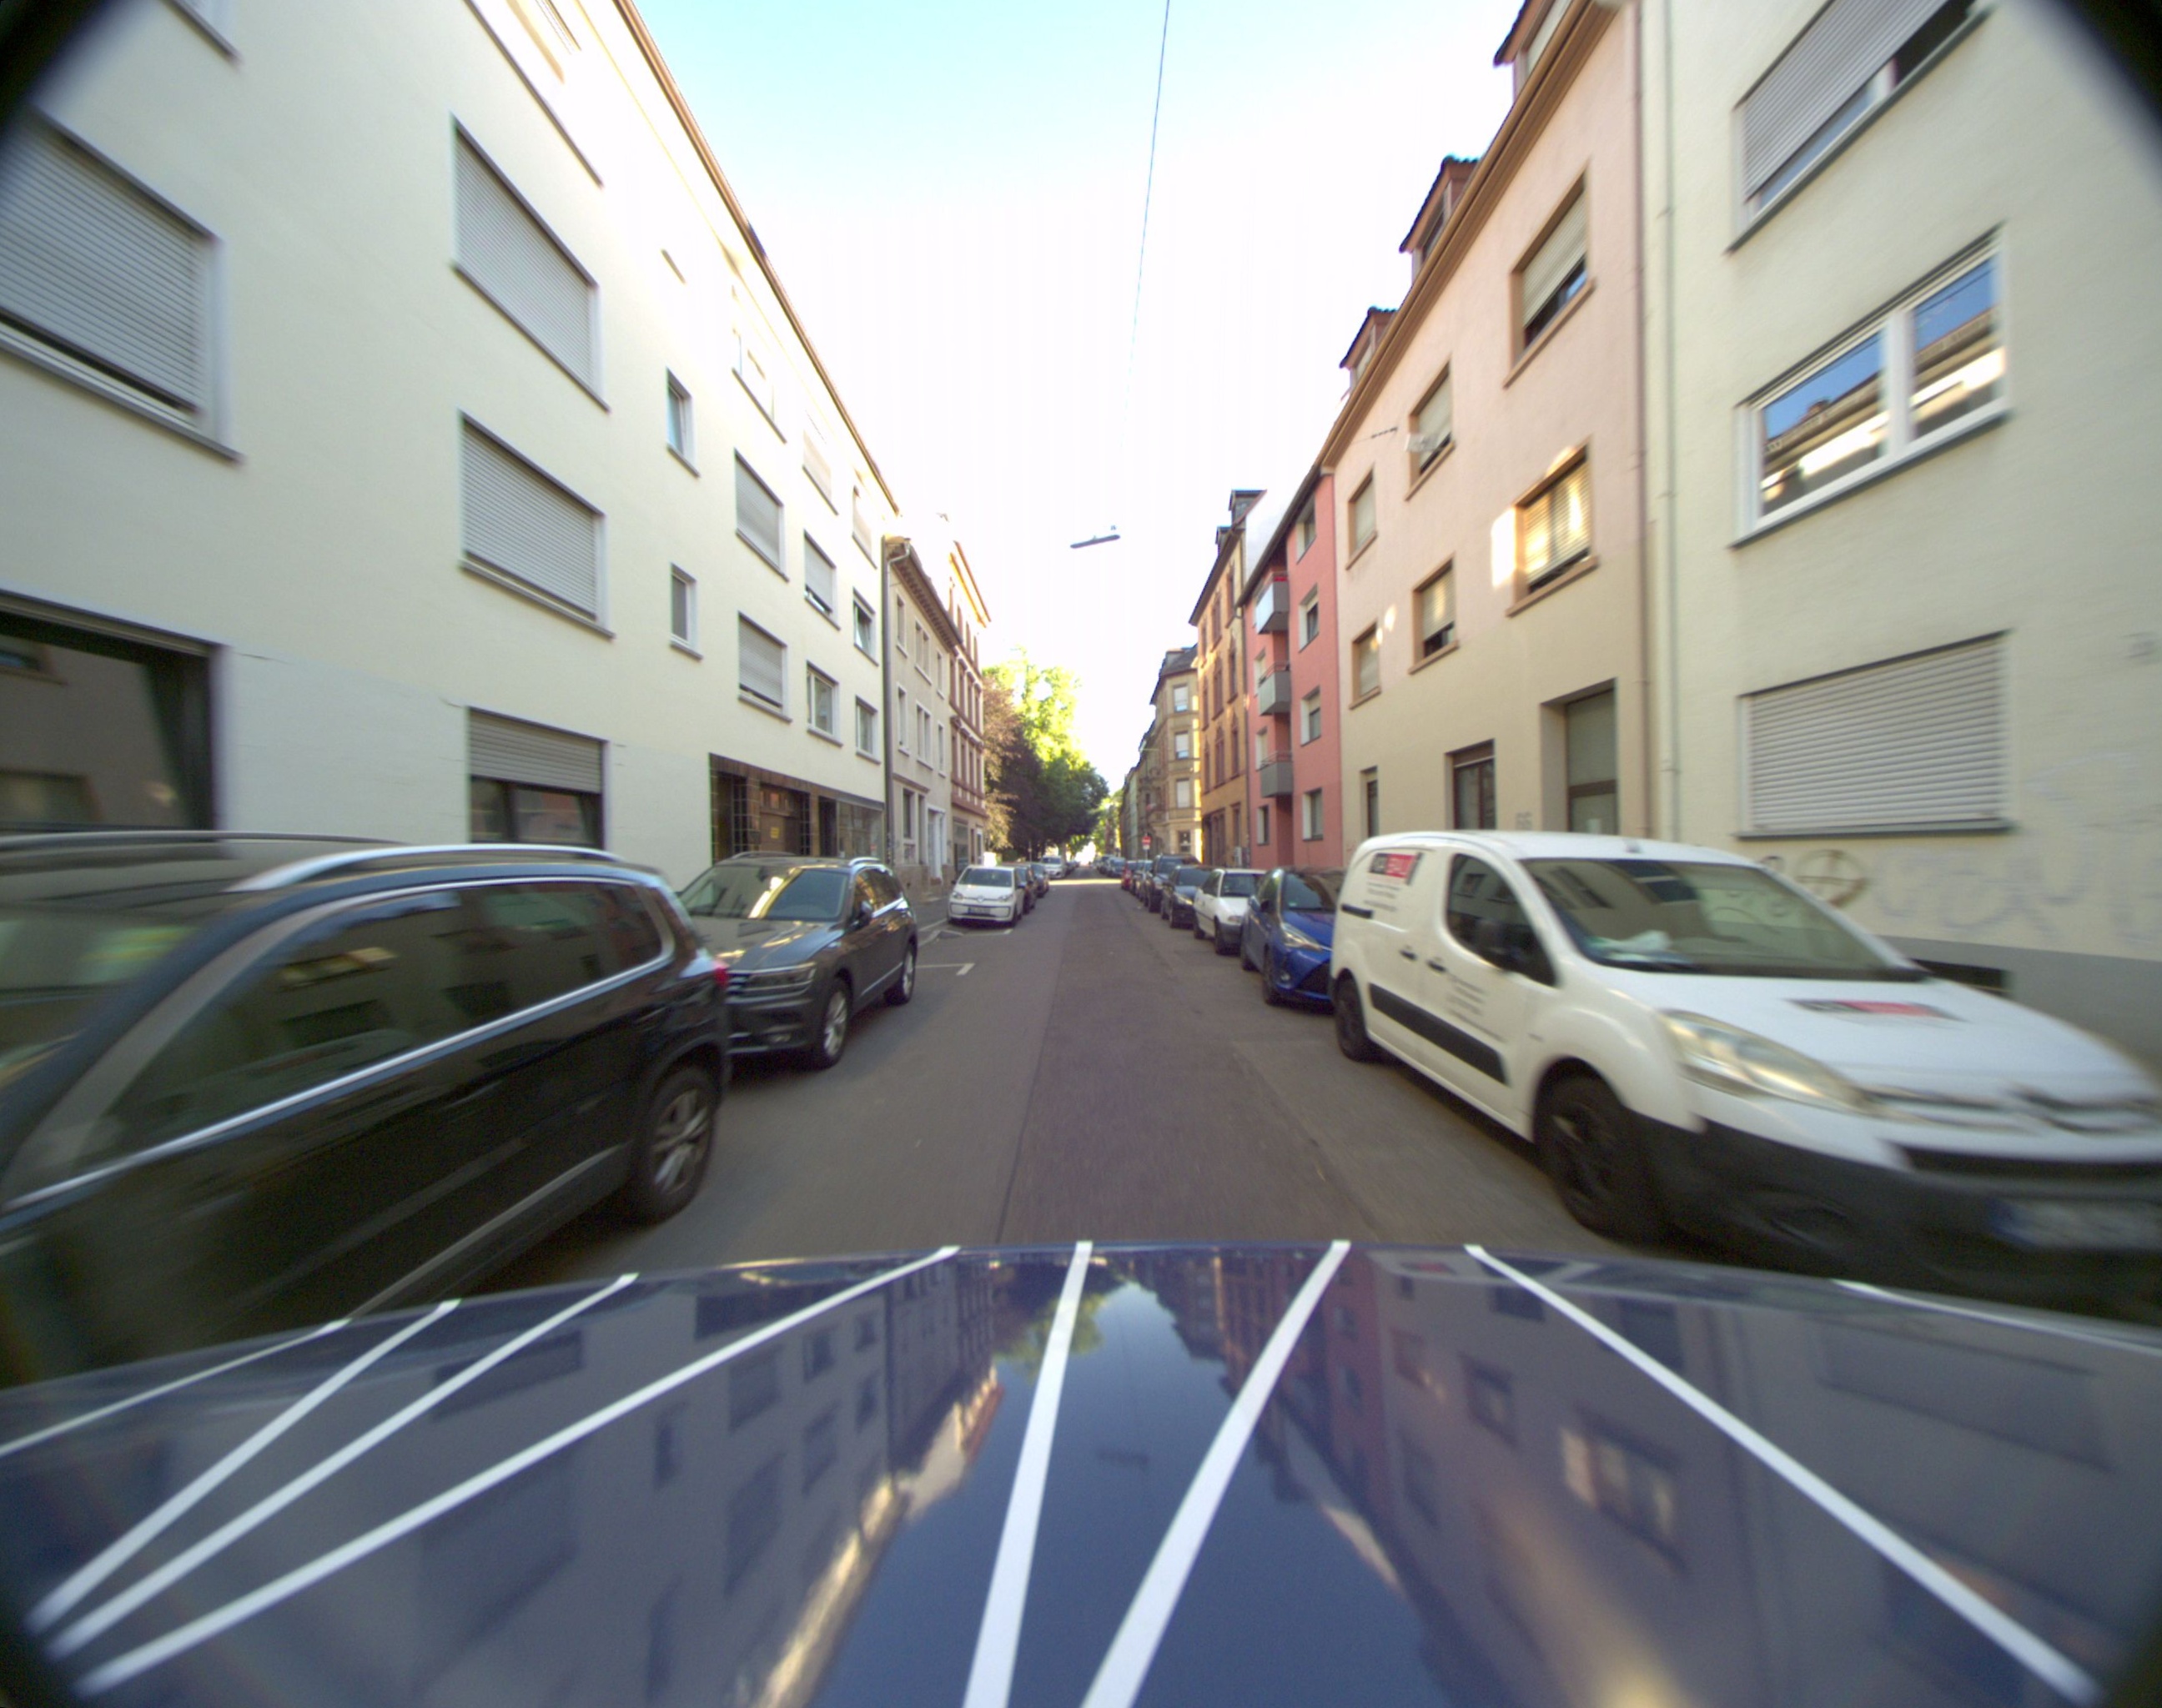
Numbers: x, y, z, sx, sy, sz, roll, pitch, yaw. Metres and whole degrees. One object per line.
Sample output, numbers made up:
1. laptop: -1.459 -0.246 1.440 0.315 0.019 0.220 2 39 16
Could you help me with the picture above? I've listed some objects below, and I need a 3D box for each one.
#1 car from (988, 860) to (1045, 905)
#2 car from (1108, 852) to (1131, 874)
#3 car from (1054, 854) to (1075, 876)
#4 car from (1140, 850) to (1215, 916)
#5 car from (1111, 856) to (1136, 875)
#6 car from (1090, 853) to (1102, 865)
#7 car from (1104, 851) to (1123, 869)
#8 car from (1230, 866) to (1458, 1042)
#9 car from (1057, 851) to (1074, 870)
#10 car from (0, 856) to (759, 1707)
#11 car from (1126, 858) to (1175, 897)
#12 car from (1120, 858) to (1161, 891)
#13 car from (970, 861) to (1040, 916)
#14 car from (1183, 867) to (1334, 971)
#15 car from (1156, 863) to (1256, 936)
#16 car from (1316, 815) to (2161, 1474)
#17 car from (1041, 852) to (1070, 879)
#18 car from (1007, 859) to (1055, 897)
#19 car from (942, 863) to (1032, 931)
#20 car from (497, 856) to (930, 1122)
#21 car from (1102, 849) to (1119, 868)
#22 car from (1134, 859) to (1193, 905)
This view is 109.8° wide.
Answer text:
1. car: -2.356 1.017 28.746 1.768 1.524 4.103 1 0 0
2. car: 3.413 0.739 67.763 1.768 1.846 3.993 2 0 0
3. car: -1.457 0.946 67.806 1.768 1.846 4.285 -1 0 0
4. car: 2.896 0.830 23.639 1.768 1.814 4.103 2 0 0
5. car: 3.475 0.891 62.385 1.768 1.463 3.932 2 0 0
6. car: 2.688 0.852 133.916 1.998 2.002 4.000 -2 0 1
7. car: 3.457 0.624 81.834 1.768 1.914 4.264 2 0 0
8. car: 2.856 0.962 9.177 1.674 1.519 4.087 2 0 6
9. car: -1.716 0.716 86.463 1.768 2.006 4.264 2 0 0
10. car: -2.700 0.870 1.955 1.770 1.657 4.328 2 0 1
11. car: 3.021 0.999 33.659 1.768 1.524 4.103 2 0 0
12. car: 3.005 1.020 38.856 1.768 1.524 4.103 2 0 0
13. car: -2.331 1.041 24.281 1.768 1.524 4.103 1 0 0
14. car: 2.970 1.027 13.572 1.675 1.450 4.084 2 0 0
15. car: 2.887 1.000 18.290 1.768 1.463 3.816 2 0 0
16. car: 2.887 0.786 4.175 1.754 1.731 4.314 2 0 -1
17. car: -2.001 0.891 61.209 1.865 1.970 4.482 2 0 4
18. car: -2.170 1.029 33.896 1.768 1.524 4.103 2 0 0
19. car: -2.352 1.033 19.892 1.768 1.508 4.103 2 0 0
20. car: -2.834 0.890 7.121 1.886 1.657 4.328 2 0 0
21. car: 3.415 0.530 88.538 1.768 2.074 4.263 2 0 0
22. car: 3.021 0.984 28.595 1.768 1.524 4.103 1 0 0
